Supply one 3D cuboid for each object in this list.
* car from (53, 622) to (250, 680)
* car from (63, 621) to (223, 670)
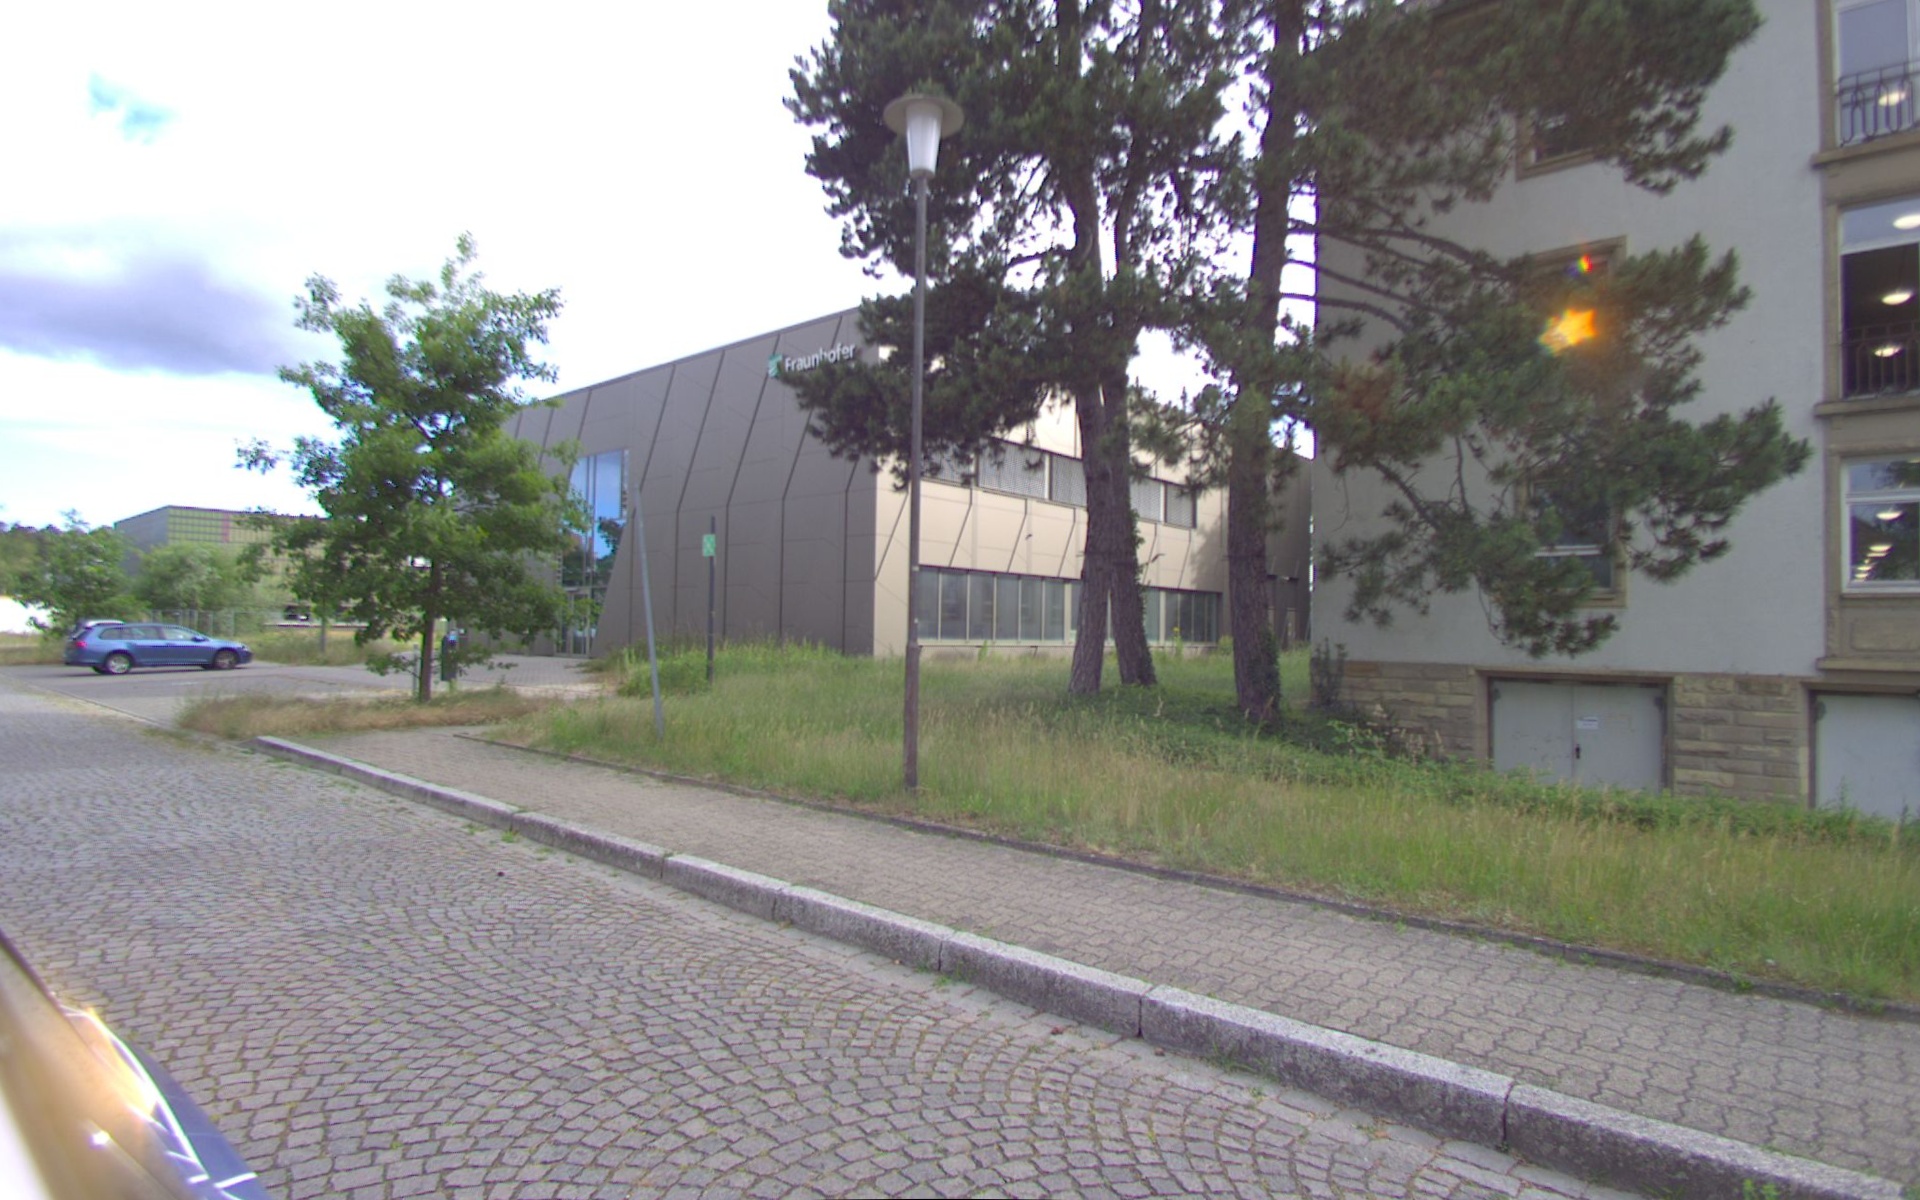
[{"bbox_3d":[-24.125,1.459,30.346,1.715,1.522,4.350,-1,0,38],"label":"car"},{"bbox_3d":[-29.006,1.562,36.017,4.339,1.557,1.843,0,-1,-43],"label":"car"}]
